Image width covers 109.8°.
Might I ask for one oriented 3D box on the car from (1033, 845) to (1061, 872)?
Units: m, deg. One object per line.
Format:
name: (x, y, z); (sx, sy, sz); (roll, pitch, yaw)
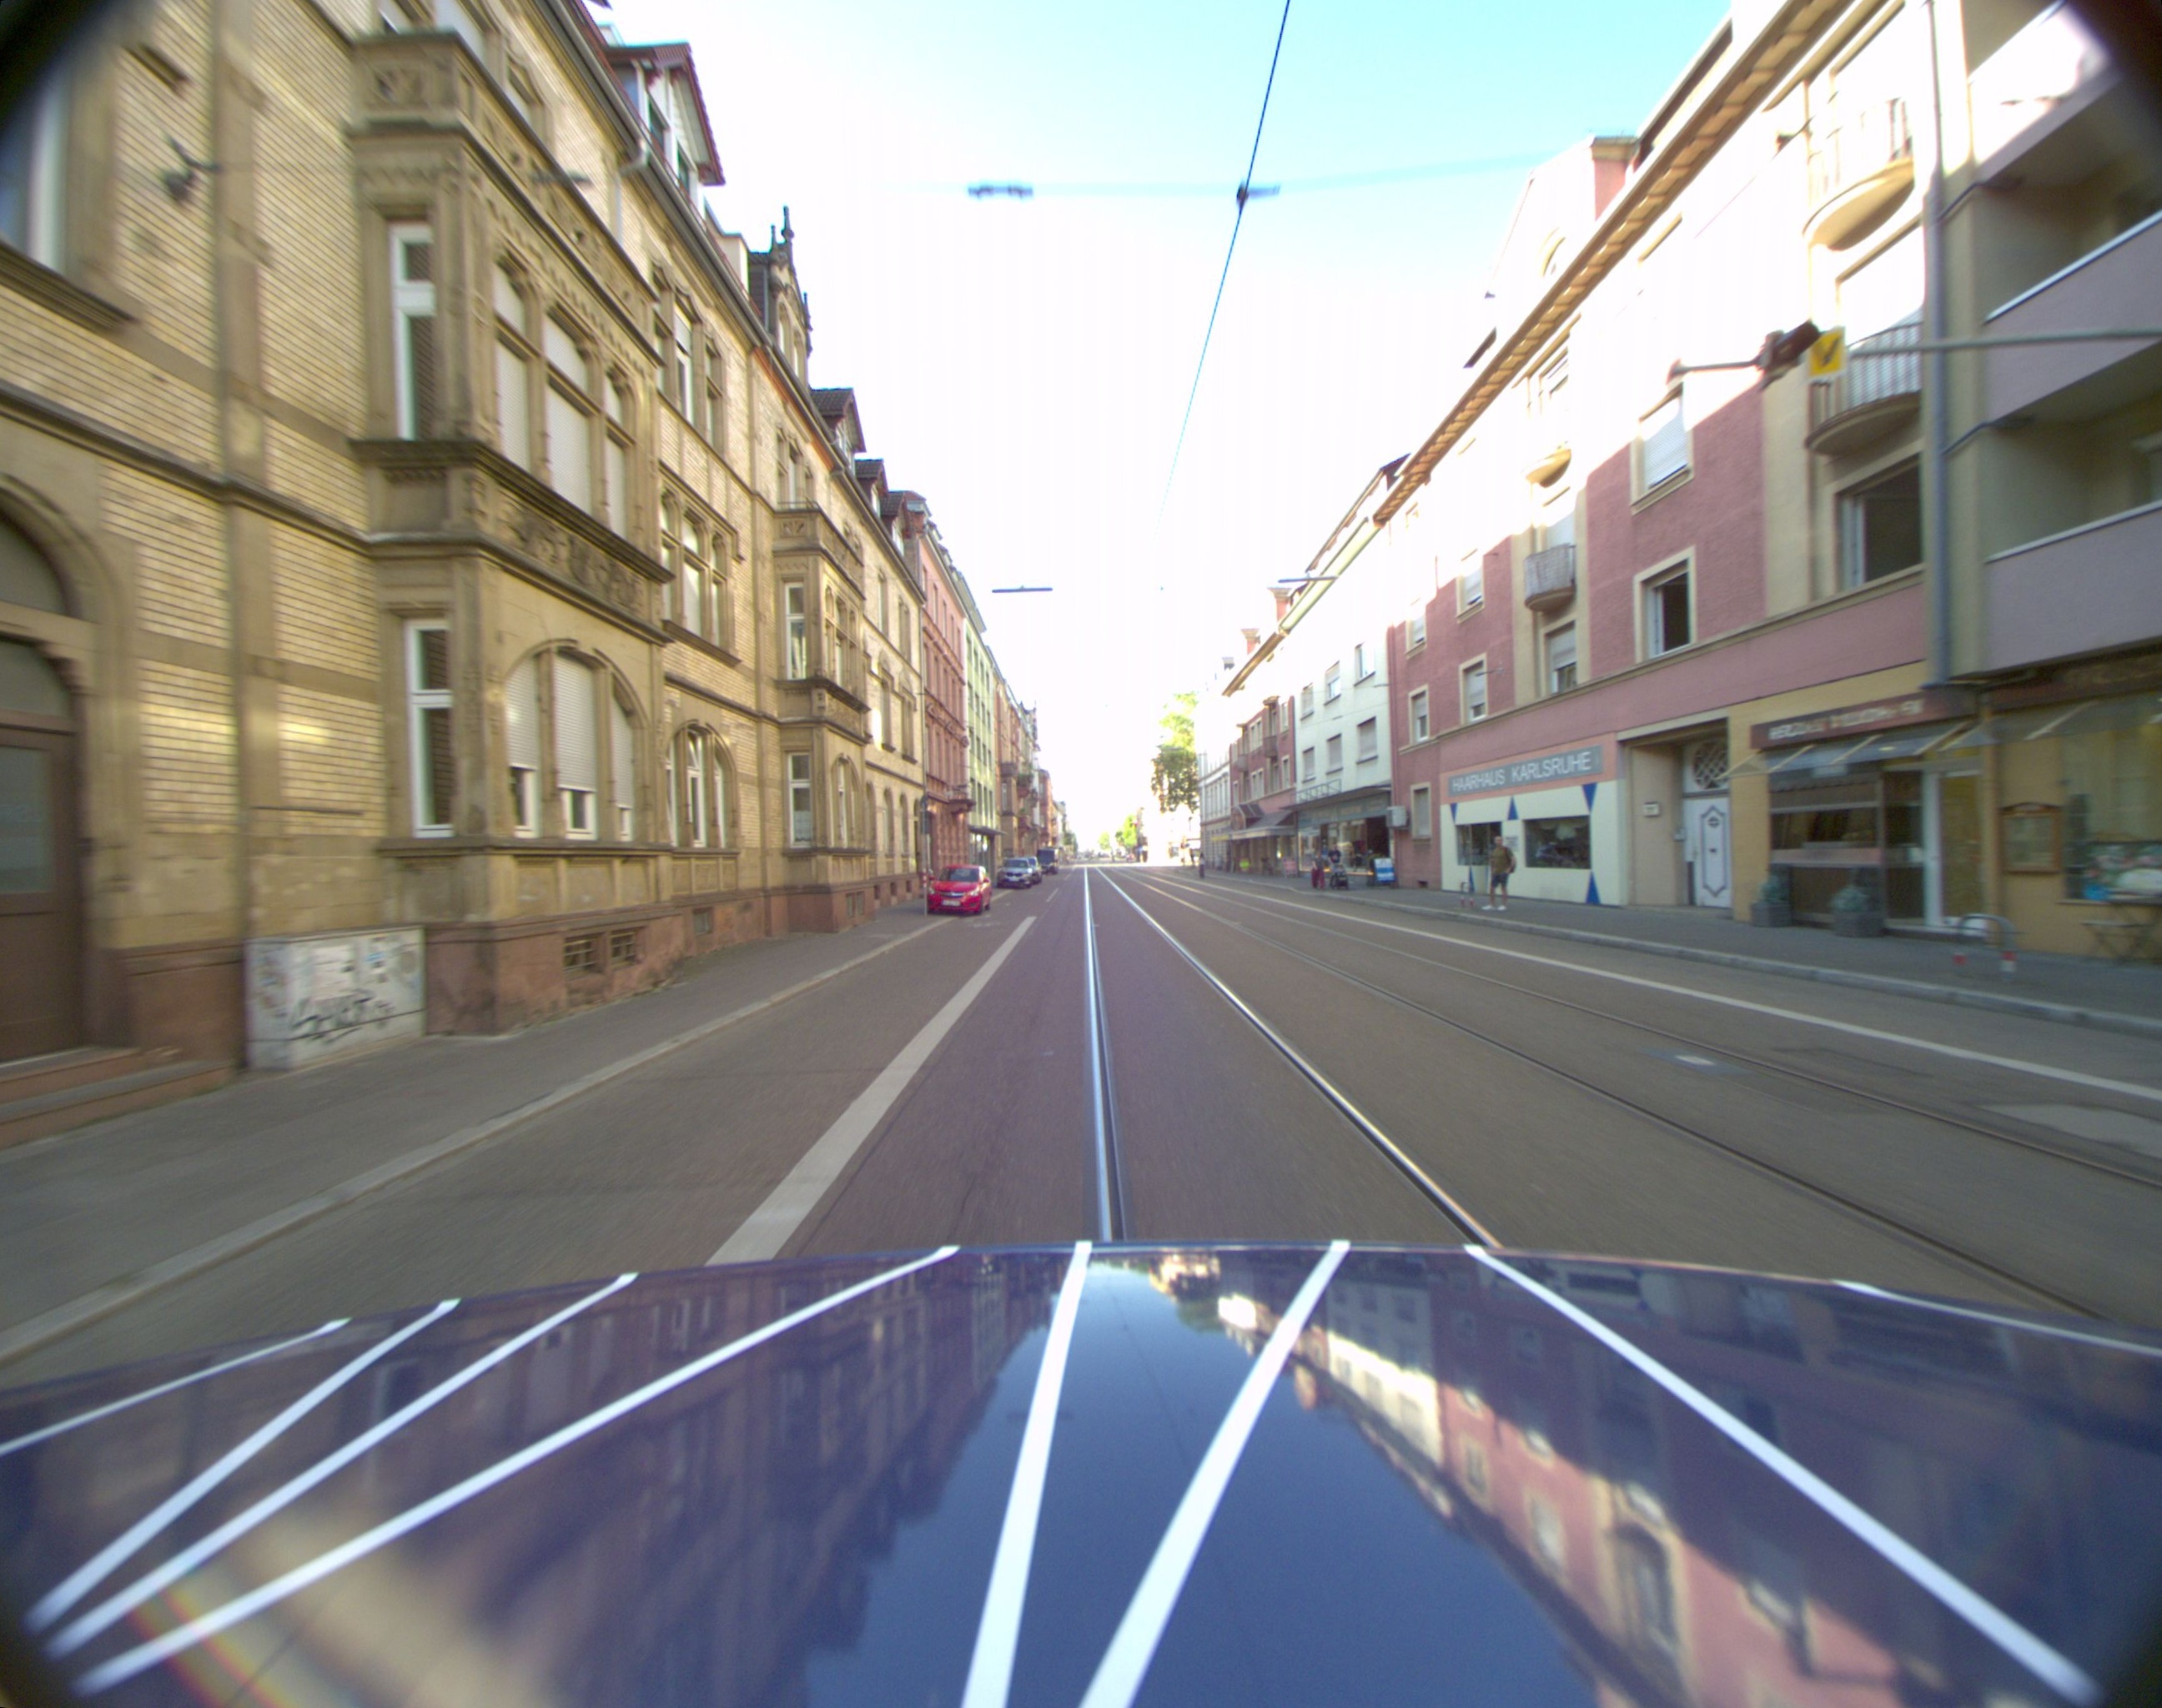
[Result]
car: (-3.306, 0.364, 74.376); (2.128, 2.478, 5.856); (-3, 1, 2)

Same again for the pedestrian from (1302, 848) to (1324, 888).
pedestrian: (9.257, 0.561, 30.353); (0.637, 1.540, 0.623); (-3, 1, 0)

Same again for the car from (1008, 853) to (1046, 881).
car: (-3.307, 0.762, 47.585); (1.998, 1.606, 4.785); (1, 1, 0)

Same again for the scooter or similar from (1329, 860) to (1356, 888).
scooter or similar: (10.244, 0.771, 29.796); (0.663, 1.055, 1.105); (-3, 0, 1)

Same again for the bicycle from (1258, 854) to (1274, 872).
bicycle: (11.315, 0.553, 46.540); (0.425, 1.053, 2.329); (-3, 1, 0)

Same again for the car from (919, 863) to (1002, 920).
car: (-3.658, 1.099, 23.888); (1.870, 1.474, 4.400); (1, 1, 0)

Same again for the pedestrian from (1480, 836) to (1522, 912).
pedestrian: (9.544, 0.453, 17.273); (0.564, 1.676, 0.616); (-3, 1, -1)

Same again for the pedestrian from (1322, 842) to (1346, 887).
pedestrian: (10.254, 0.422, 30.778); (0.627, 1.779, 0.821); (-3, 1, 0)

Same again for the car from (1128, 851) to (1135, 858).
car: (16.305, 0.216, 245.974); (1.998, 2.002, 4.000); (-1, 0, 0)

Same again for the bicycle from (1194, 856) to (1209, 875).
bicycle: (7.522, 0.706, 47.539); (0.603, 1.089, 2.044); (0, 1, 1)

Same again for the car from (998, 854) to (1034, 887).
car: (-3.526, 0.870, 41.910); (1.871, 1.637, 4.399); (1, 0, -4)

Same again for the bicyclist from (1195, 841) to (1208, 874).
bicyclist: (7.508, 0.226, 47.486); (0.613, 2.002, 0.733); (-3, 1, 1)

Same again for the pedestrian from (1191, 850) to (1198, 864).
pedestrian: (15.445, 0.412, 103.225); (0.795, 1.837, 0.809); (-3, 1, 4)
